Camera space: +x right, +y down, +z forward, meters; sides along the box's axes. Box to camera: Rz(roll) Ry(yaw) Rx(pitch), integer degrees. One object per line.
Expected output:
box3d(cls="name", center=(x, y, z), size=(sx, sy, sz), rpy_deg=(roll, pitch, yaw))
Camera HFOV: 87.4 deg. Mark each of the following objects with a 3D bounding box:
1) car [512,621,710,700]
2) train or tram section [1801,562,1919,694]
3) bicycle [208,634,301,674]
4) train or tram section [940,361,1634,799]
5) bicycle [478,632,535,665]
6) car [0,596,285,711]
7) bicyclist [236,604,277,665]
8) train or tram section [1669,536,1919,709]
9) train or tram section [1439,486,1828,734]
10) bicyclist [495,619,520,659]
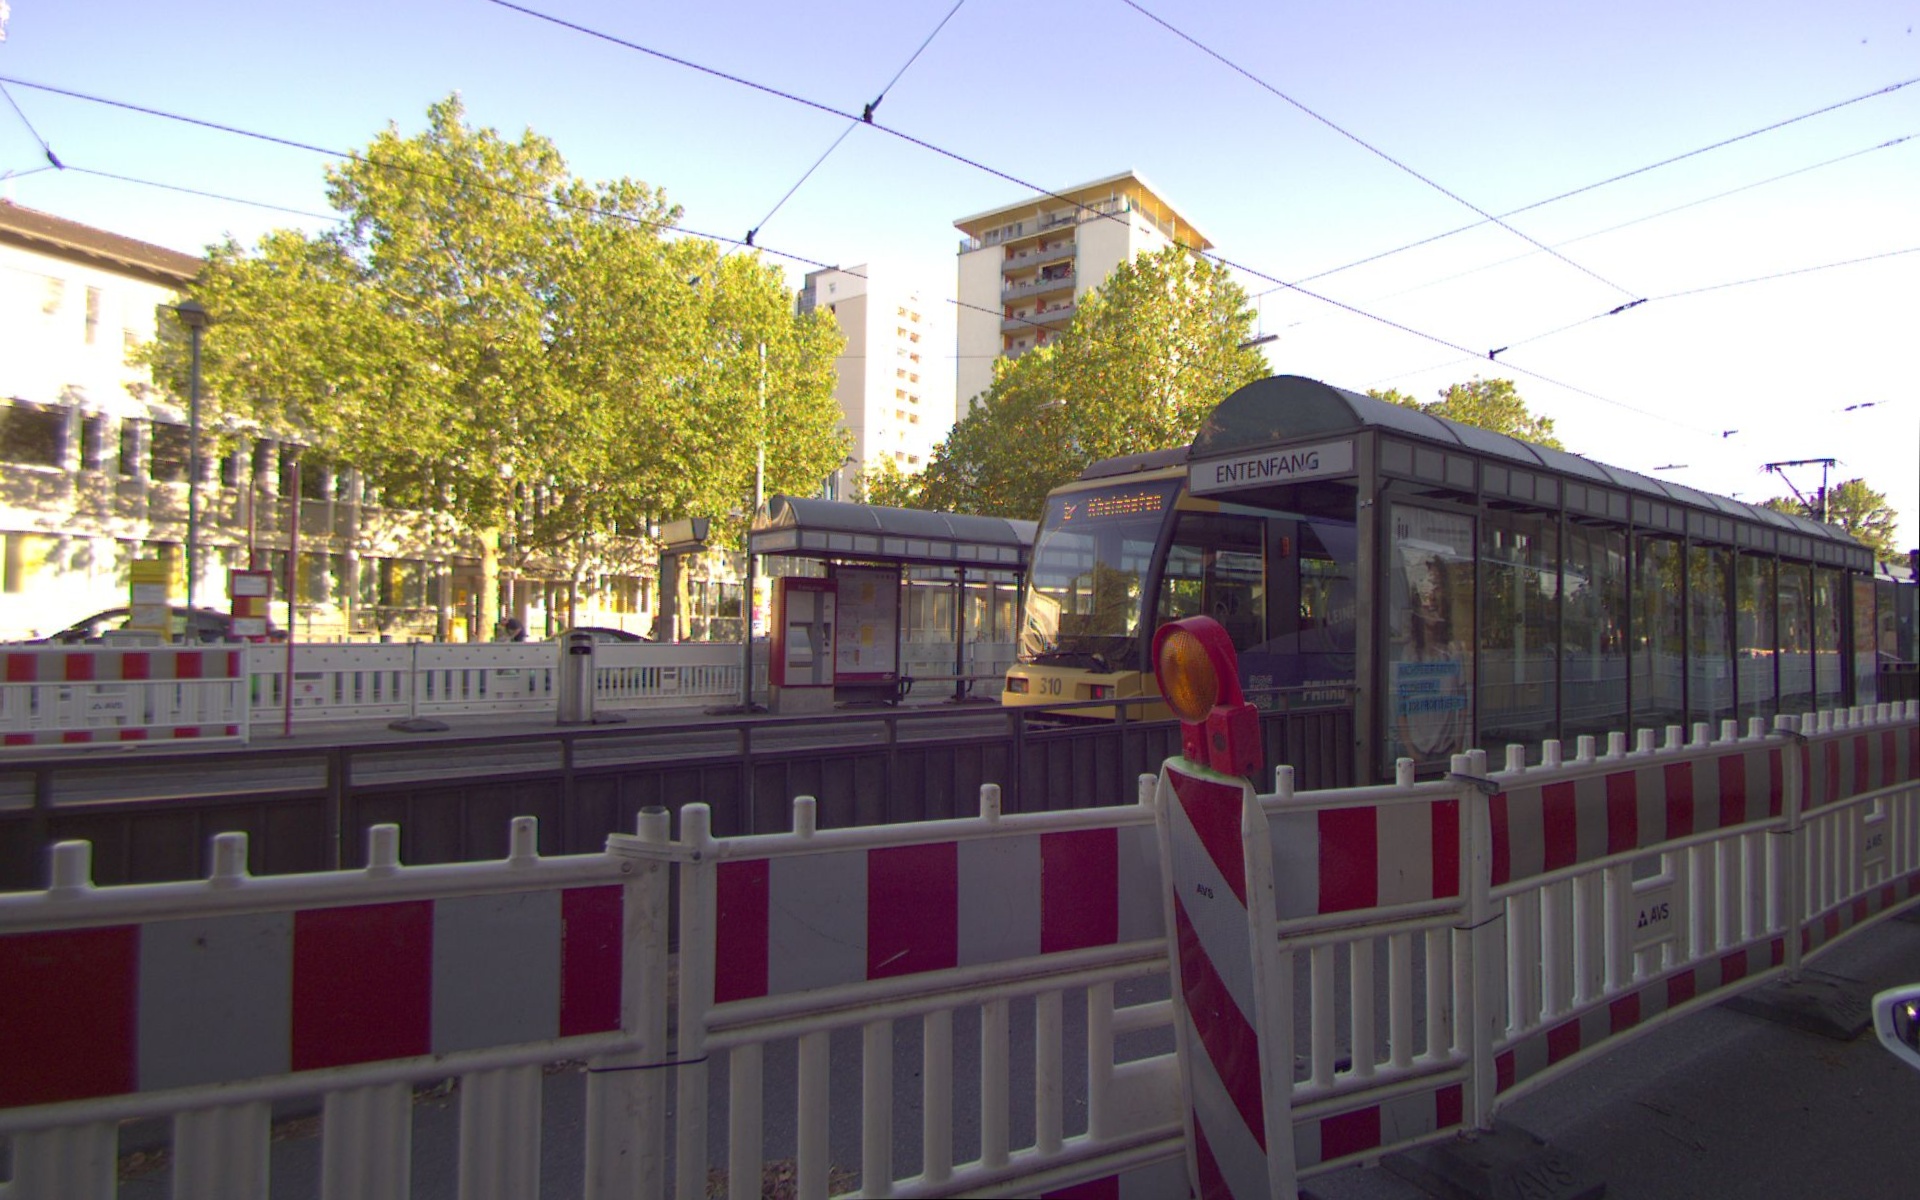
box3d(cls="car", center=(-7.657, 1.291, 22.197), size=(3.807, 1.597, 1.677), rpy_deg=(2, -2, -38))
box3d(cls="train or tram section", center=(29.133, 0.895, 30.885), size=(10.243, 3.533, 2.796), rpy_deg=(2, -1, -37))
box3d(cls="bicycle", center=(-16.670, 1.274, 23.779), size=(1.749, 0.932, 0.517), rpy_deg=(2, -2, -31))
box3d(cls="train or tram section", center=(4.719, -0.010, 12.346), size=(10.244, 3.533, 2.815), rpy_deg=(2, -1, -37))
box3d(cls="bicycle", center=(-13.028, 1.399, 28.888), size=(0.451, 0.925, 1.424), rpy_deg=(0, -2, 42))
box3d(cls="car", center=(-13.847, 0.829, 16.448), size=(4.544, 1.689, 1.881), rpy_deg=(2, 0, -37))
box3d(cls="bicyclist", center=(-16.658, 0.818, 23.794), size=(0.716, 1.415, 0.517), rpy_deg=(2, -1, -30))
box3d(cls="train or tram section", center=(20.997, 0.610, 24.767), size=(10.244, 3.533, 2.815), rpy_deg=(2, -1, -37))
box3d(cls="train or tram section", center=(12.830, 0.297, 18.568), size=(10.244, 3.533, 2.850), rpy_deg=(2, -1, -37))
box3d(cls="bicyclist", center=(-13.022, 1.116, 28.893), size=(0.451, 1.137, 0.504), rpy_deg=(0, -2, 43))
